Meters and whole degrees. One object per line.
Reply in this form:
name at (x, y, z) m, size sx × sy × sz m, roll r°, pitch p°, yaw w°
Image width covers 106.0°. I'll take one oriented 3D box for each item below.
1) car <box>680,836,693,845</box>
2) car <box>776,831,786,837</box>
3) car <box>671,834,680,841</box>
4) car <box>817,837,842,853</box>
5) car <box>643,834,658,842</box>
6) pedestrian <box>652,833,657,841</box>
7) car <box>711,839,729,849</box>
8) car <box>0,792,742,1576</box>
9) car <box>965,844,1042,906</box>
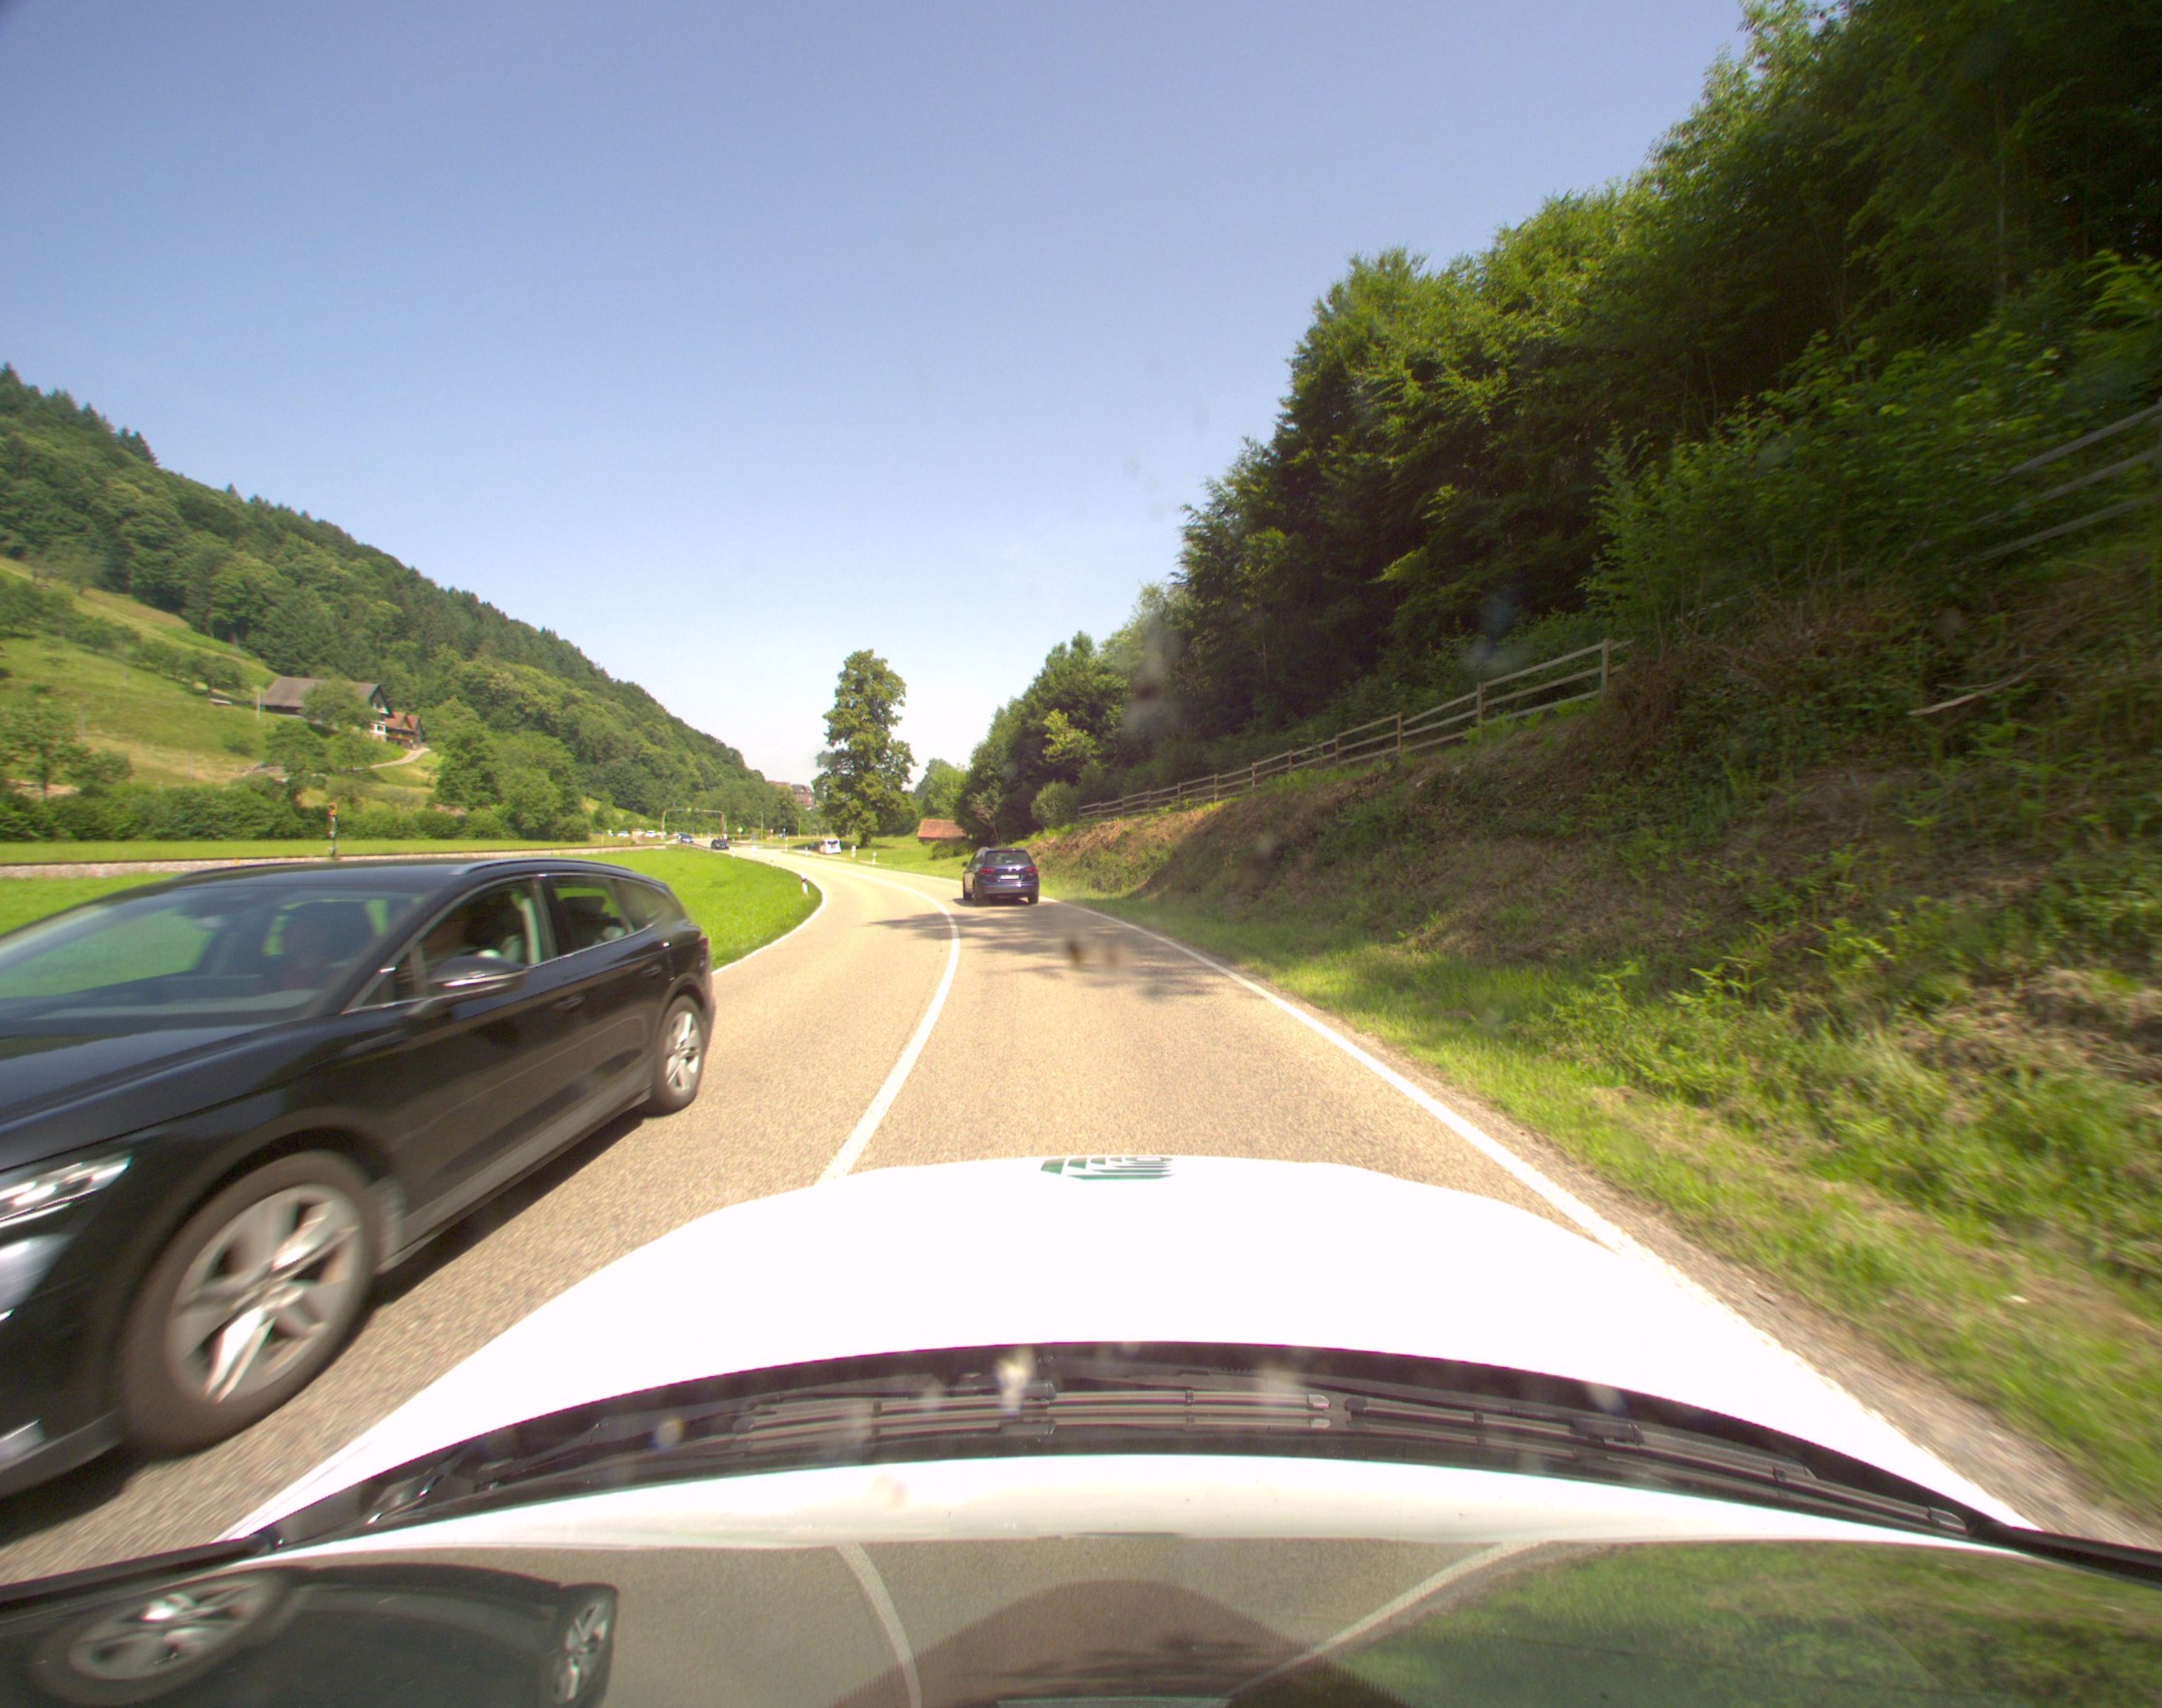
car at (-69.679, -2.400, 143.955) m, size 1.876 × 1.623 × 4.470 m, roll -1°, pitch 2°, yaw -28°
car at (-88.807, -5.949, 241.167) m, size 1.804 × 1.618 × 3.986 m, roll 1°, pitch -1°, yaw -10°
car at (-93.362, -3.806, 187.597) m, size 1.836 × 1.500 × 4.239 m, roll 0°, pitch 1°, yaw -28°
car at (-32.484, -1.147, 104.977) m, size 2.011 × 1.848 × 4.824 m, roll -5°, pitch 4°, yaw -28°
car at (-98.921, -3.626, 187.128) m, size 1.874 × 1.782 × 4.748 m, roll 1°, pitch 1°, yaw -15°
pedestrian at (-94.494, -3.721, 180.498) m, size 0.788 × 1.842 × 0.695 m, roll 0°, pitch 2°, yaw -13°
car at (-52.390, -1.496, 118.184) m, size 1.928 × 1.470 × 4.468 m, roll 0°, pitch 1°, yaw -29°
car at (-3.313, 0.723, 3.713) m, size 1.872 × 1.587 × 4.587 m, roll -2°, pitch 0°, yaw -5°
car at (-2.382, 0.543, 24.067) m, size 1.854 × 1.649 × 4.124 m, roll -1°, pitch 0°, yaw -11°
